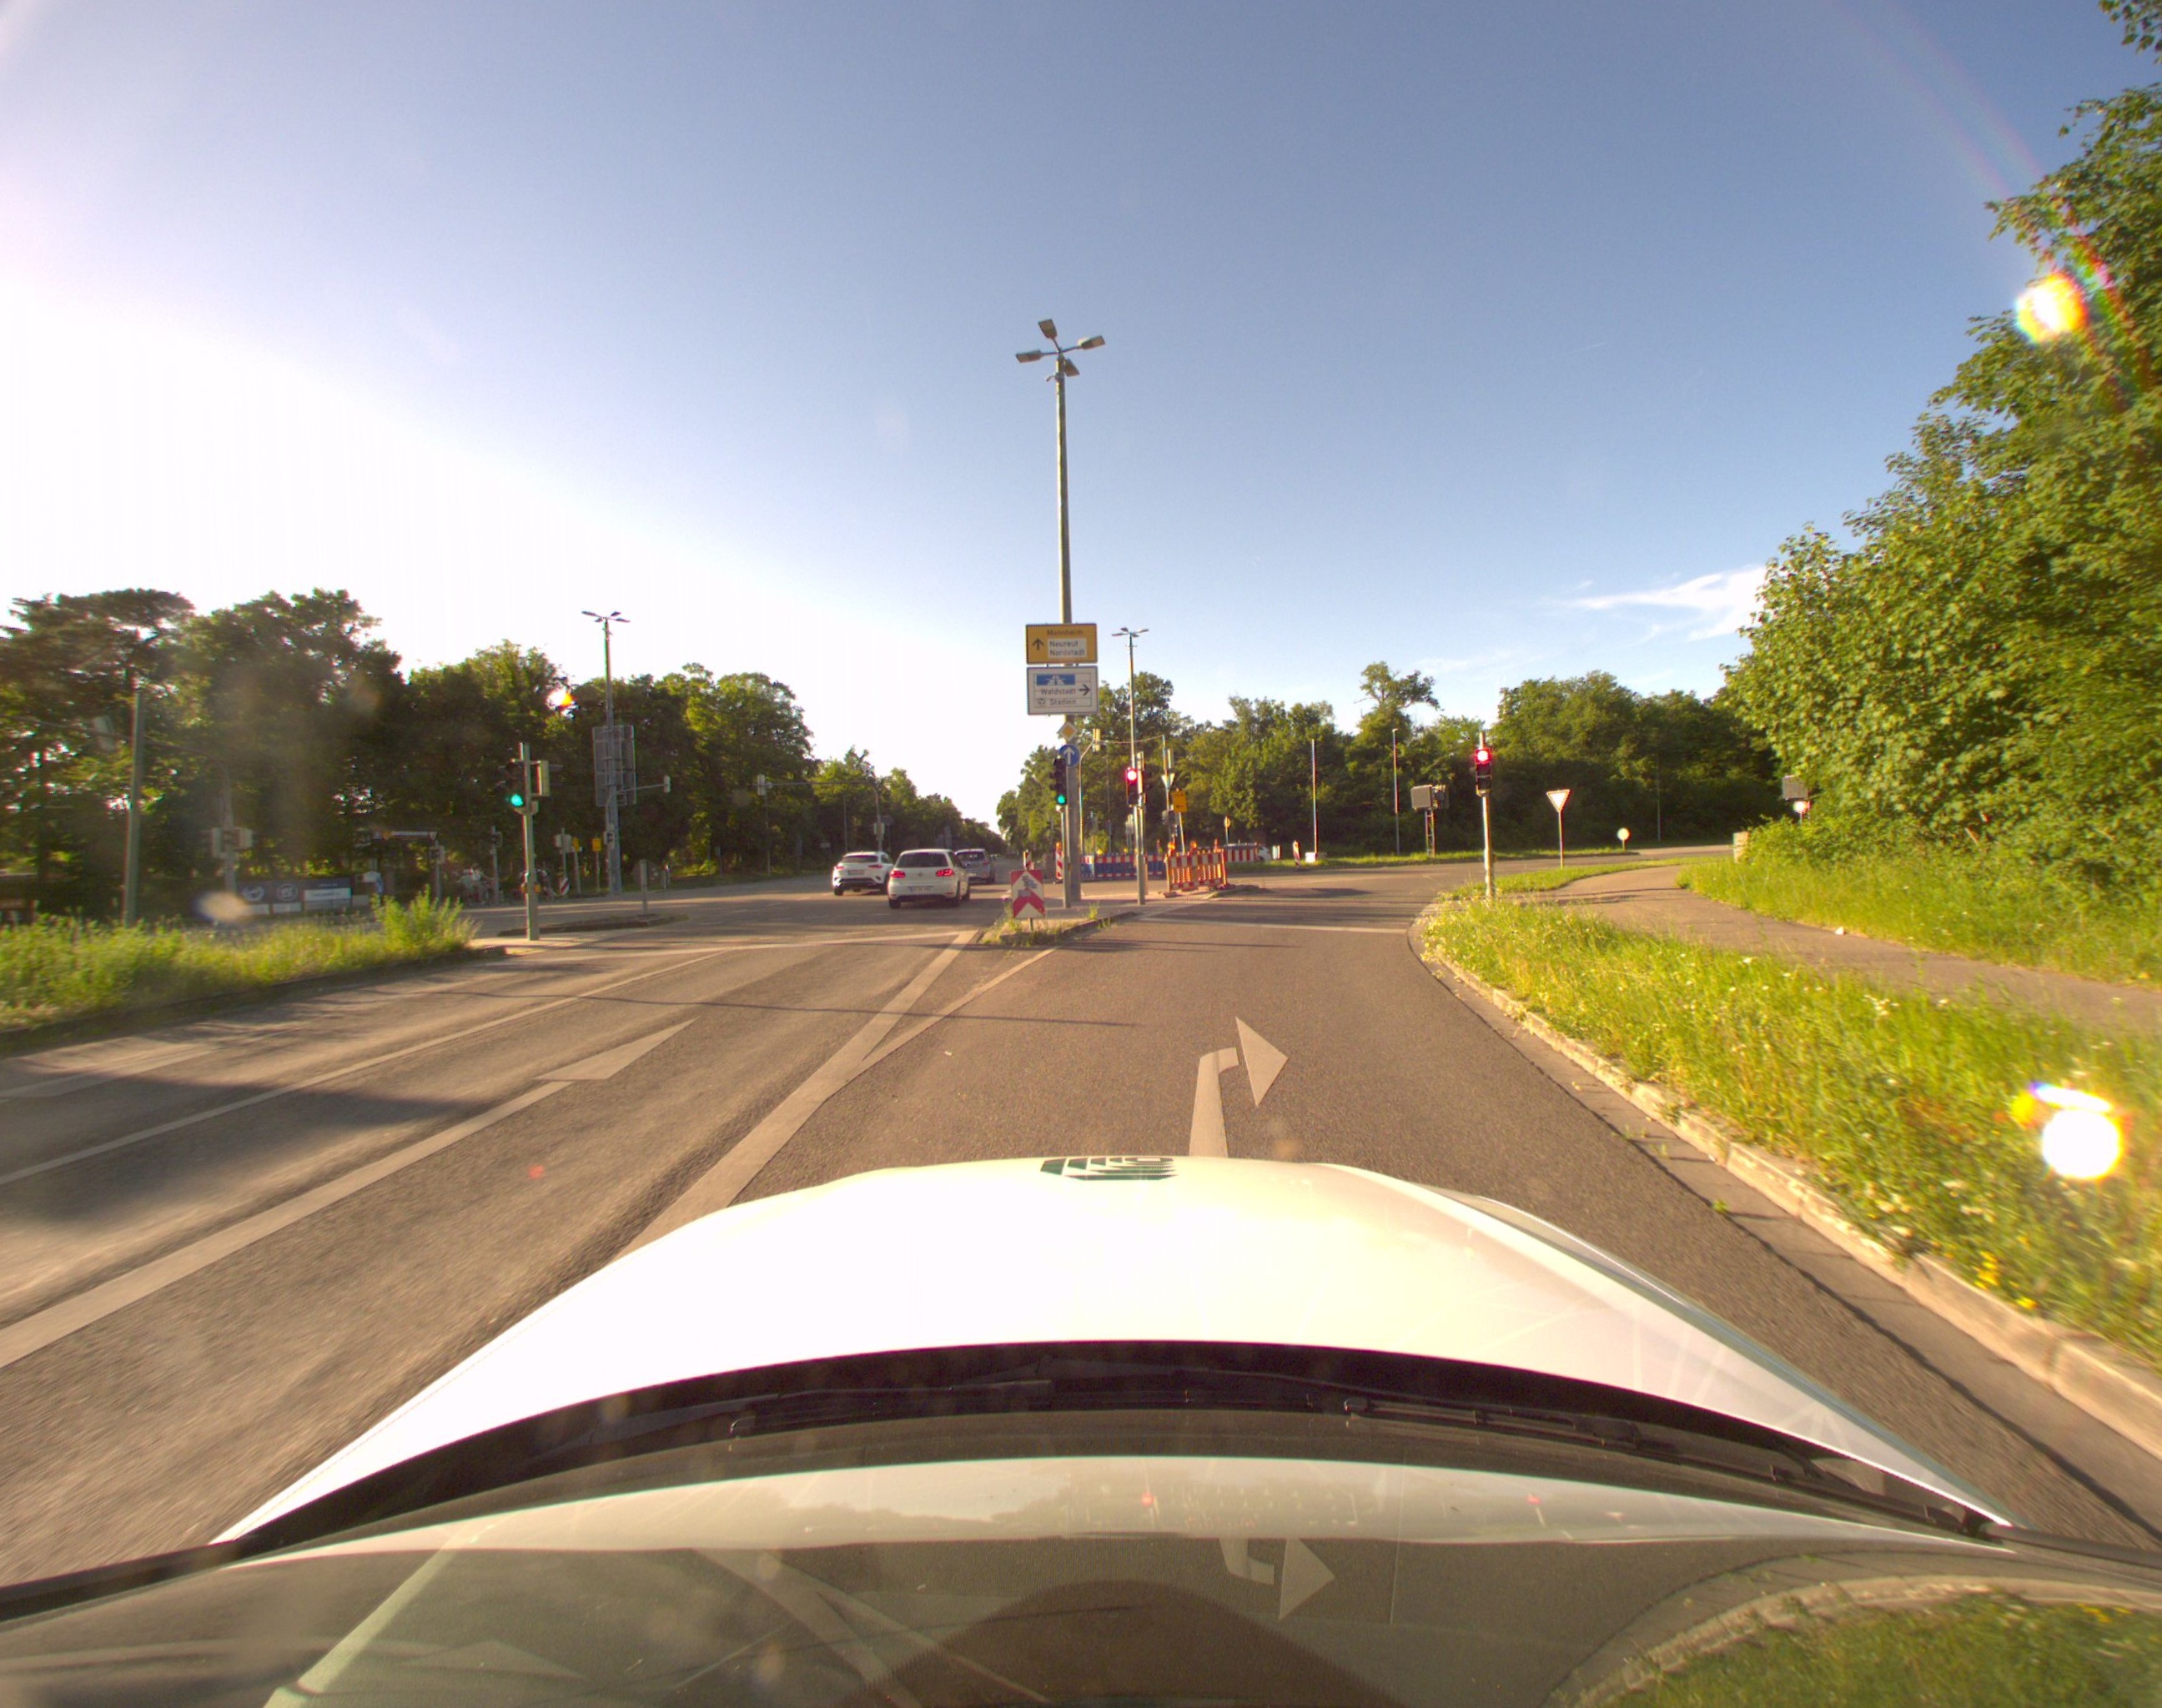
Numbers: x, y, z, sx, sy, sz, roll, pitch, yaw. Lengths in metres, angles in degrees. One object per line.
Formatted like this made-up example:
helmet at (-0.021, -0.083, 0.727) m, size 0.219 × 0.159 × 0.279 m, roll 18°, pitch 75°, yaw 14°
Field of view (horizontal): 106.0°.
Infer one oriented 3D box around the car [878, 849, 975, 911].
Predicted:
car at (-3.996, 0.612, 21.733) m, size 1.935 × 1.414 × 3.996 m, roll -2°, pitch 0°, yaw -3°

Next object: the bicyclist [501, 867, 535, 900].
bicyclist at (-24.802, 1.287, 35.889) m, size 0.712 × 1.355 × 0.991 m, roll -2°, pitch 0°, yaw 1°

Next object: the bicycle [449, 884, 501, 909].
bicycle at (-26.011, 1.815, 35.005) m, size 0.712 × 0.914 × 1.911 m, roll -2°, pitch 0°, yaw 1°

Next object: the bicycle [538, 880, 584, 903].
bicycle at (-22.912, 1.642, 35.900) m, size 0.712 × 0.914 × 1.911 m, roll -2°, pitch 0°, yaw 1°

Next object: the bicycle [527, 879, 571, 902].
bicycle at (-24.776, 1.698, 37.987) m, size 0.712 × 0.914 × 1.911 m, roll -2°, pitch 0°, yaw 1°

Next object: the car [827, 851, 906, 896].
car at (-7.597, 0.652, 29.241) m, size 1.858 × 1.444 × 3.997 m, roll -1°, pitch 0°, yaw -2°

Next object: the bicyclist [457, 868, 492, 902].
bicyclist at (-26.034, 1.334, 34.969) m, size 0.708 × 1.389 × 0.991 m, roll -2°, pitch 0°, yaw 1°

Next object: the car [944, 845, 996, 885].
car at (-4.652, 0.440, 34.629) m, size 1.991 × 1.536 × 3.992 m, roll -2°, pitch 0°, yaw -6°

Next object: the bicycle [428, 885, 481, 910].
bicycle at (-26.918, 1.843, 35.043) m, size 0.712 × 0.914 × 1.911 m, roll -2°, pitch 1°, yaw 1°

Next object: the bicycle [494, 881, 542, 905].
bicycle at (-24.786, 1.721, 35.895) m, size 0.712 × 0.914 × 1.911 m, roll -2°, pitch 0°, yaw 1°

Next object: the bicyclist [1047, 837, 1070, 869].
bicyclist at (-1.410, -0.056, 50.422) m, size 1.020 × 1.929 × 0.958 m, roll -1°, pitch 0°, yaw -34°

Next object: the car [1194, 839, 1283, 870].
car at (9.260, 0.002, 47.768) m, size 4.840 × 1.580 × 1.984 m, roll -2°, pitch 0°, yaw -24°

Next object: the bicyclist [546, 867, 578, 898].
bicyclist at (-22.922, 1.248, 35.957) m, size 0.712 × 1.339 × 0.991 m, roll -2°, pitch 0°, yaw 1°

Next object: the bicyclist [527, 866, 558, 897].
bicyclist at (-24.805, 1.262, 37.526) m, size 0.712 × 1.342 × 0.991 m, roll -2°, pitch 0°, yaw 1°

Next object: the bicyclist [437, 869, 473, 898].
bicyclist at (-26.943, 1.251, 35.042) m, size 0.712 × 1.192 × 0.991 m, roll -2°, pitch 0°, yaw 1°
